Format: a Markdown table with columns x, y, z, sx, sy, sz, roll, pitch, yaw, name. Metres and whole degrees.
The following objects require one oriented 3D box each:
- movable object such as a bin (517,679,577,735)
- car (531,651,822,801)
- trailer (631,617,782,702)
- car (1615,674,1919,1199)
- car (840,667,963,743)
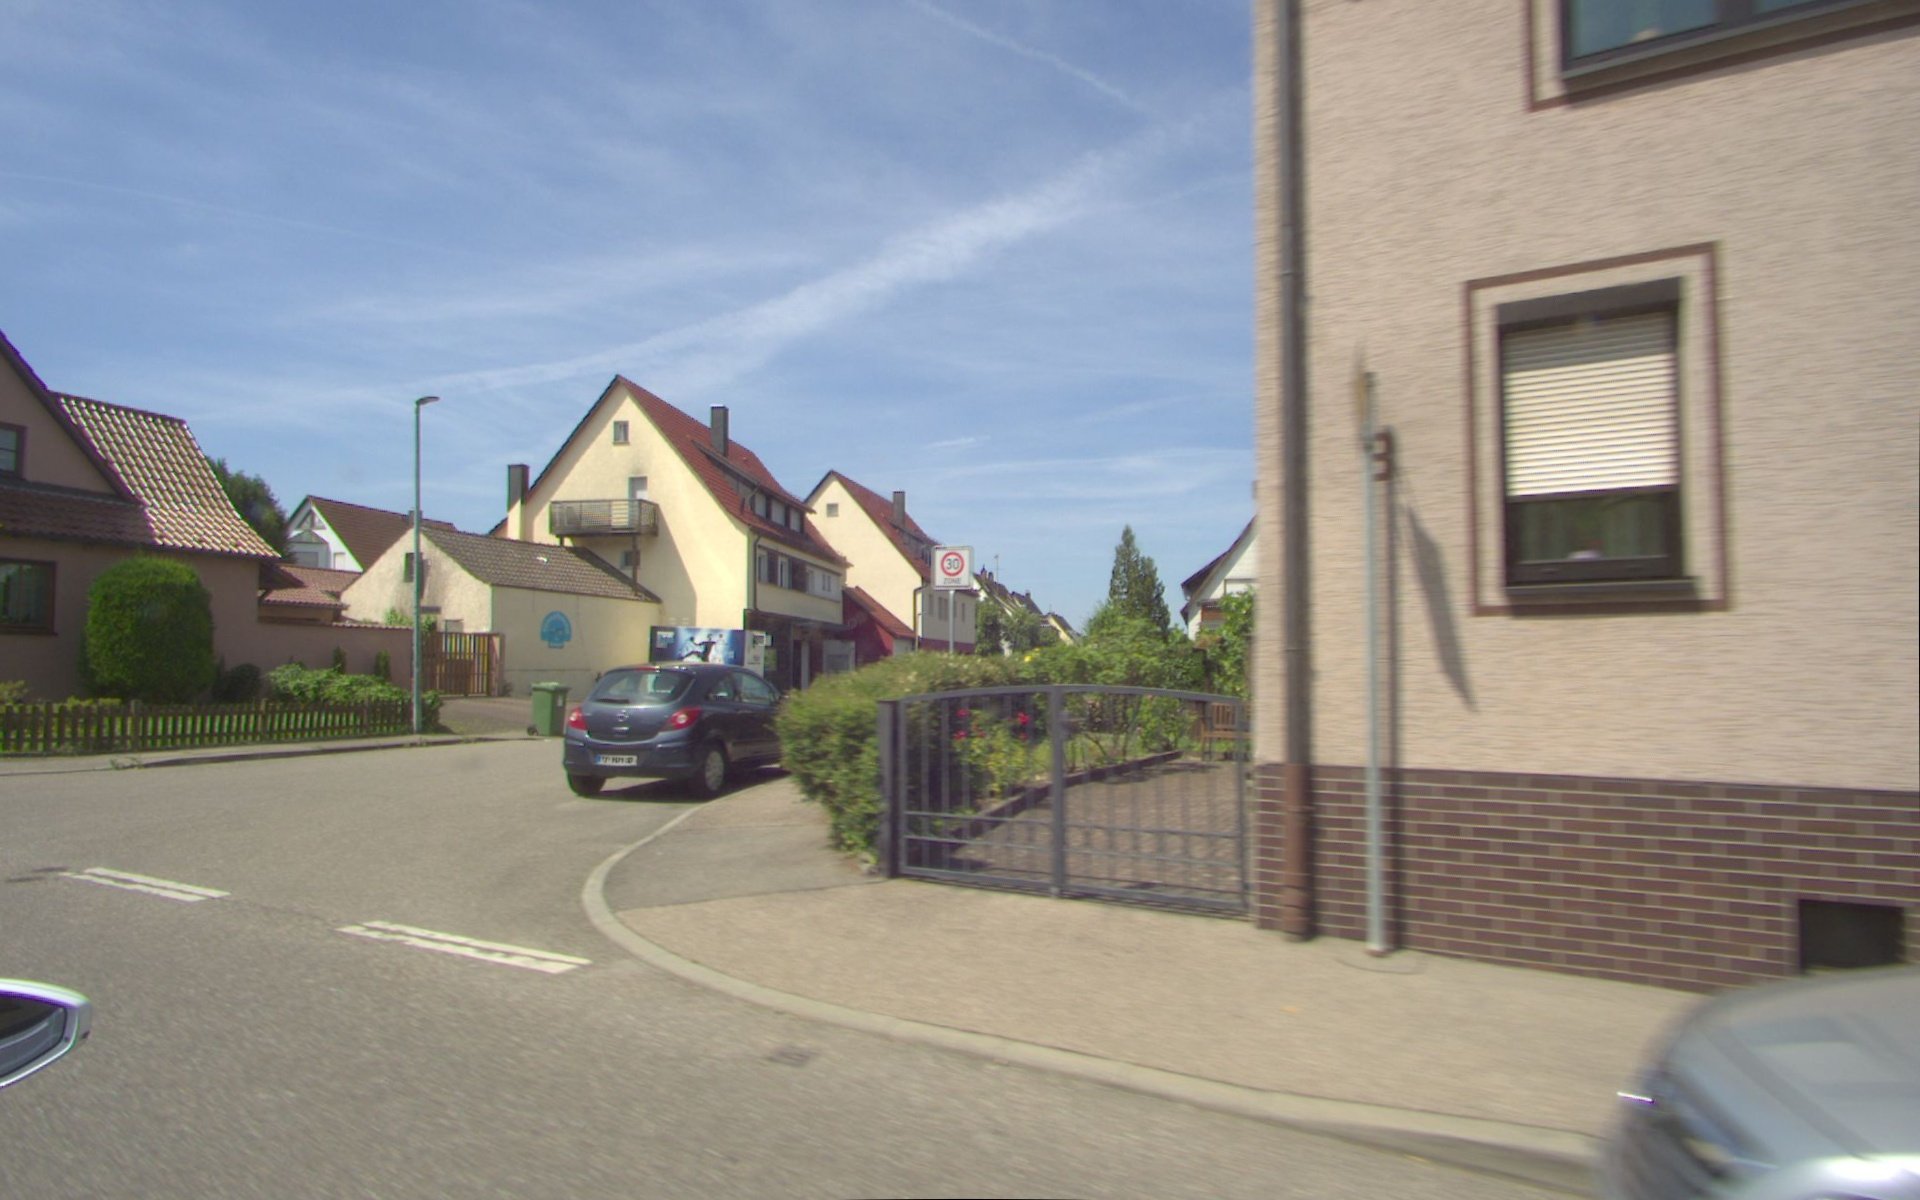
| x | y | z | sx | sy | sz | roll | pitch | yaw | name |
| --- | --- | --- | --- | --- | --- | --- | --- | --- | --- |
| -8.597 | 2.215 | 20.850 | 0.992 | 1.109 | 0.499 | 1 | -3 | 7 | movable object such as a bin |
| -3.236 | 1.439 | 12.298 | 1.854 | 1.506 | 3.818 | 0 | -4 | 12 | car |
| -8.923 | 2.093 | 35.427 | 4.675 | 2.847 | 2.001 | 1 | -3 | 10 | trailer |
| 3.264 | 0.867 | 0.916 | 4.269 | 1.459 | 1.787 | -1 | -5 | 28 | car |
| -1.229 | 2.322 | 22.909 | 1.819 | 1.506 | 3.910 | 1 | -3 | 12 | car |
